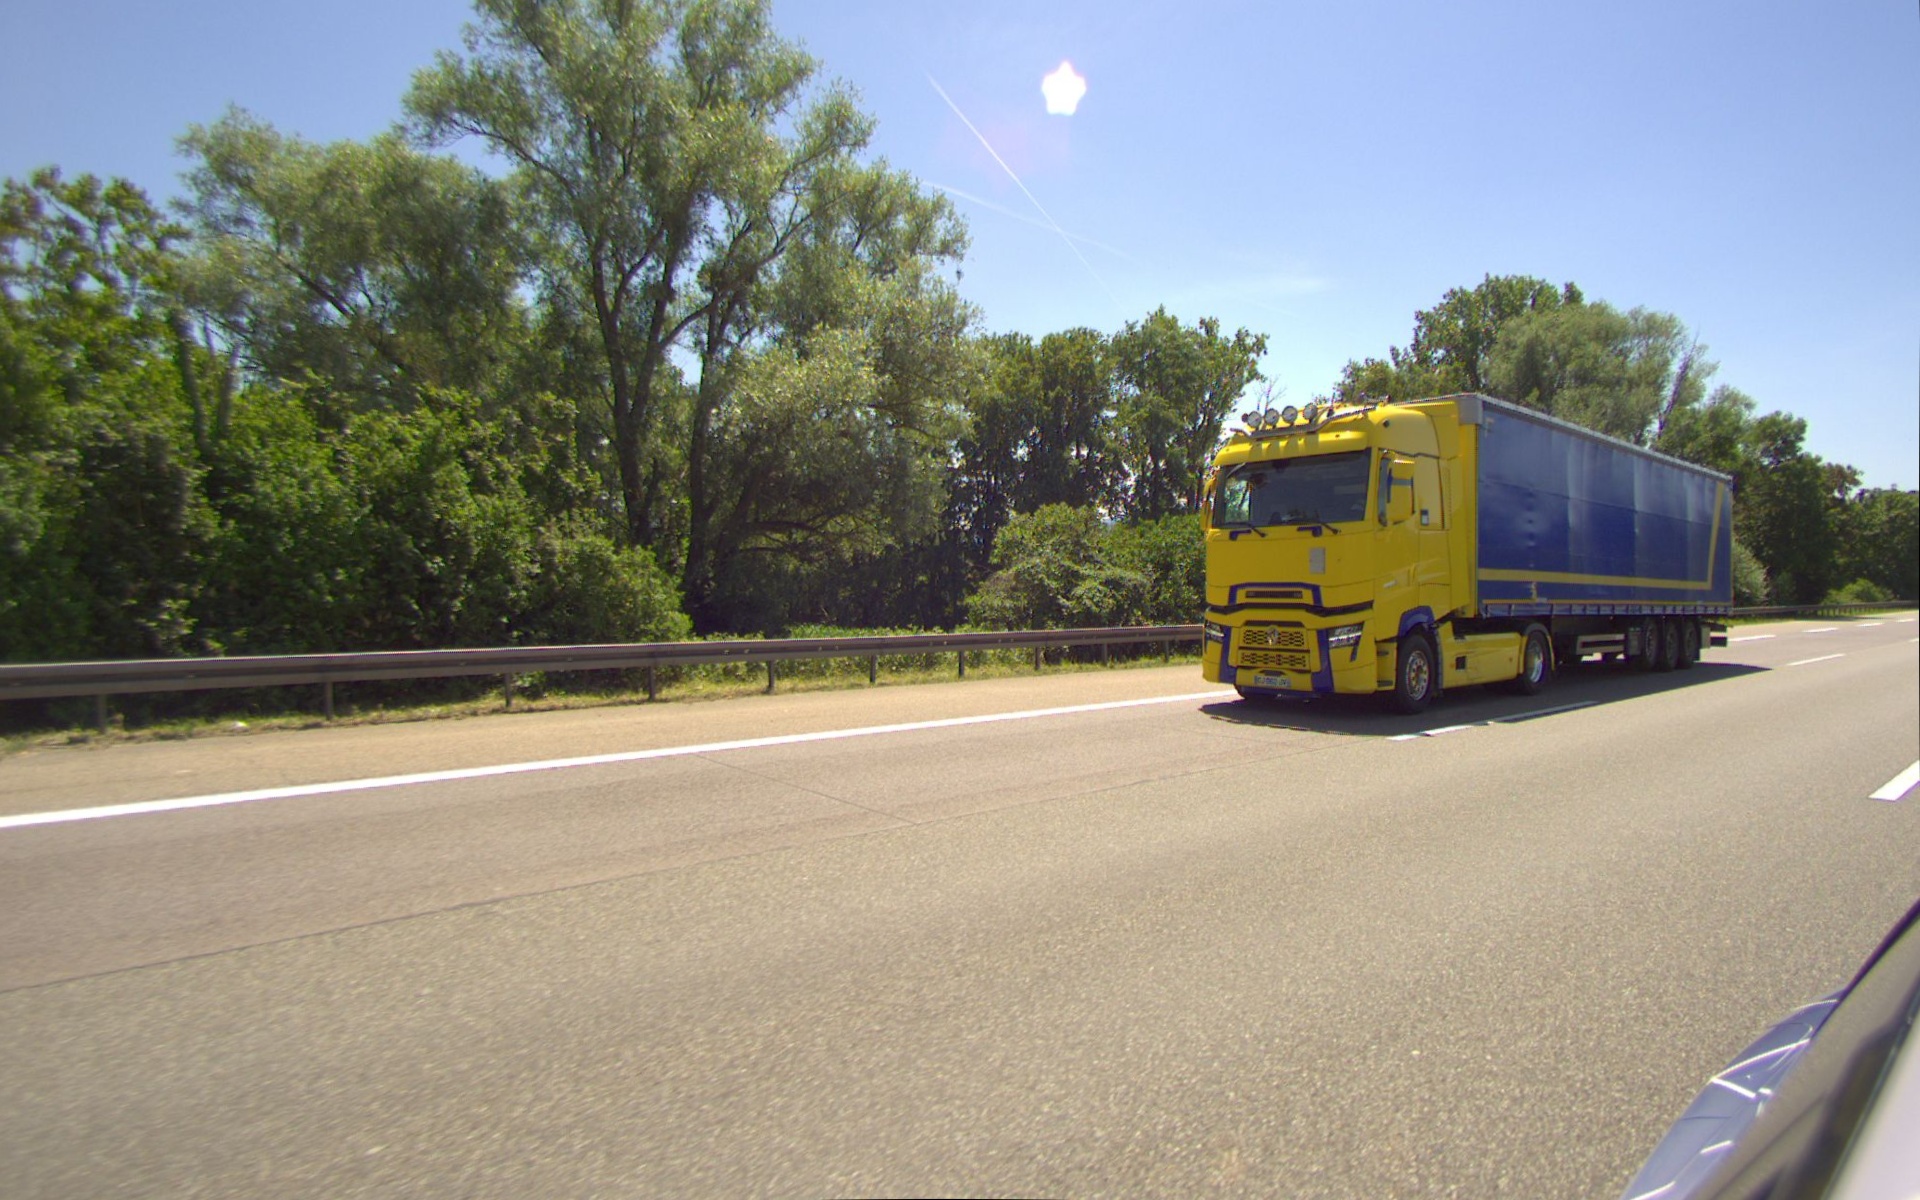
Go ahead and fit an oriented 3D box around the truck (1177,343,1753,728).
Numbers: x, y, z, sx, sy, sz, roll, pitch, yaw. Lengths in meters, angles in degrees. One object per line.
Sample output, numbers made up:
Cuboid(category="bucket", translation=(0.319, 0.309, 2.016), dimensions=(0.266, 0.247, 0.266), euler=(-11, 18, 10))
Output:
Cuboid(category="truck", translation=(10.094, -0.912, 17.821), dimensions=(16.497, 4.310, 2.851), euler=(-1, 2, -41))
